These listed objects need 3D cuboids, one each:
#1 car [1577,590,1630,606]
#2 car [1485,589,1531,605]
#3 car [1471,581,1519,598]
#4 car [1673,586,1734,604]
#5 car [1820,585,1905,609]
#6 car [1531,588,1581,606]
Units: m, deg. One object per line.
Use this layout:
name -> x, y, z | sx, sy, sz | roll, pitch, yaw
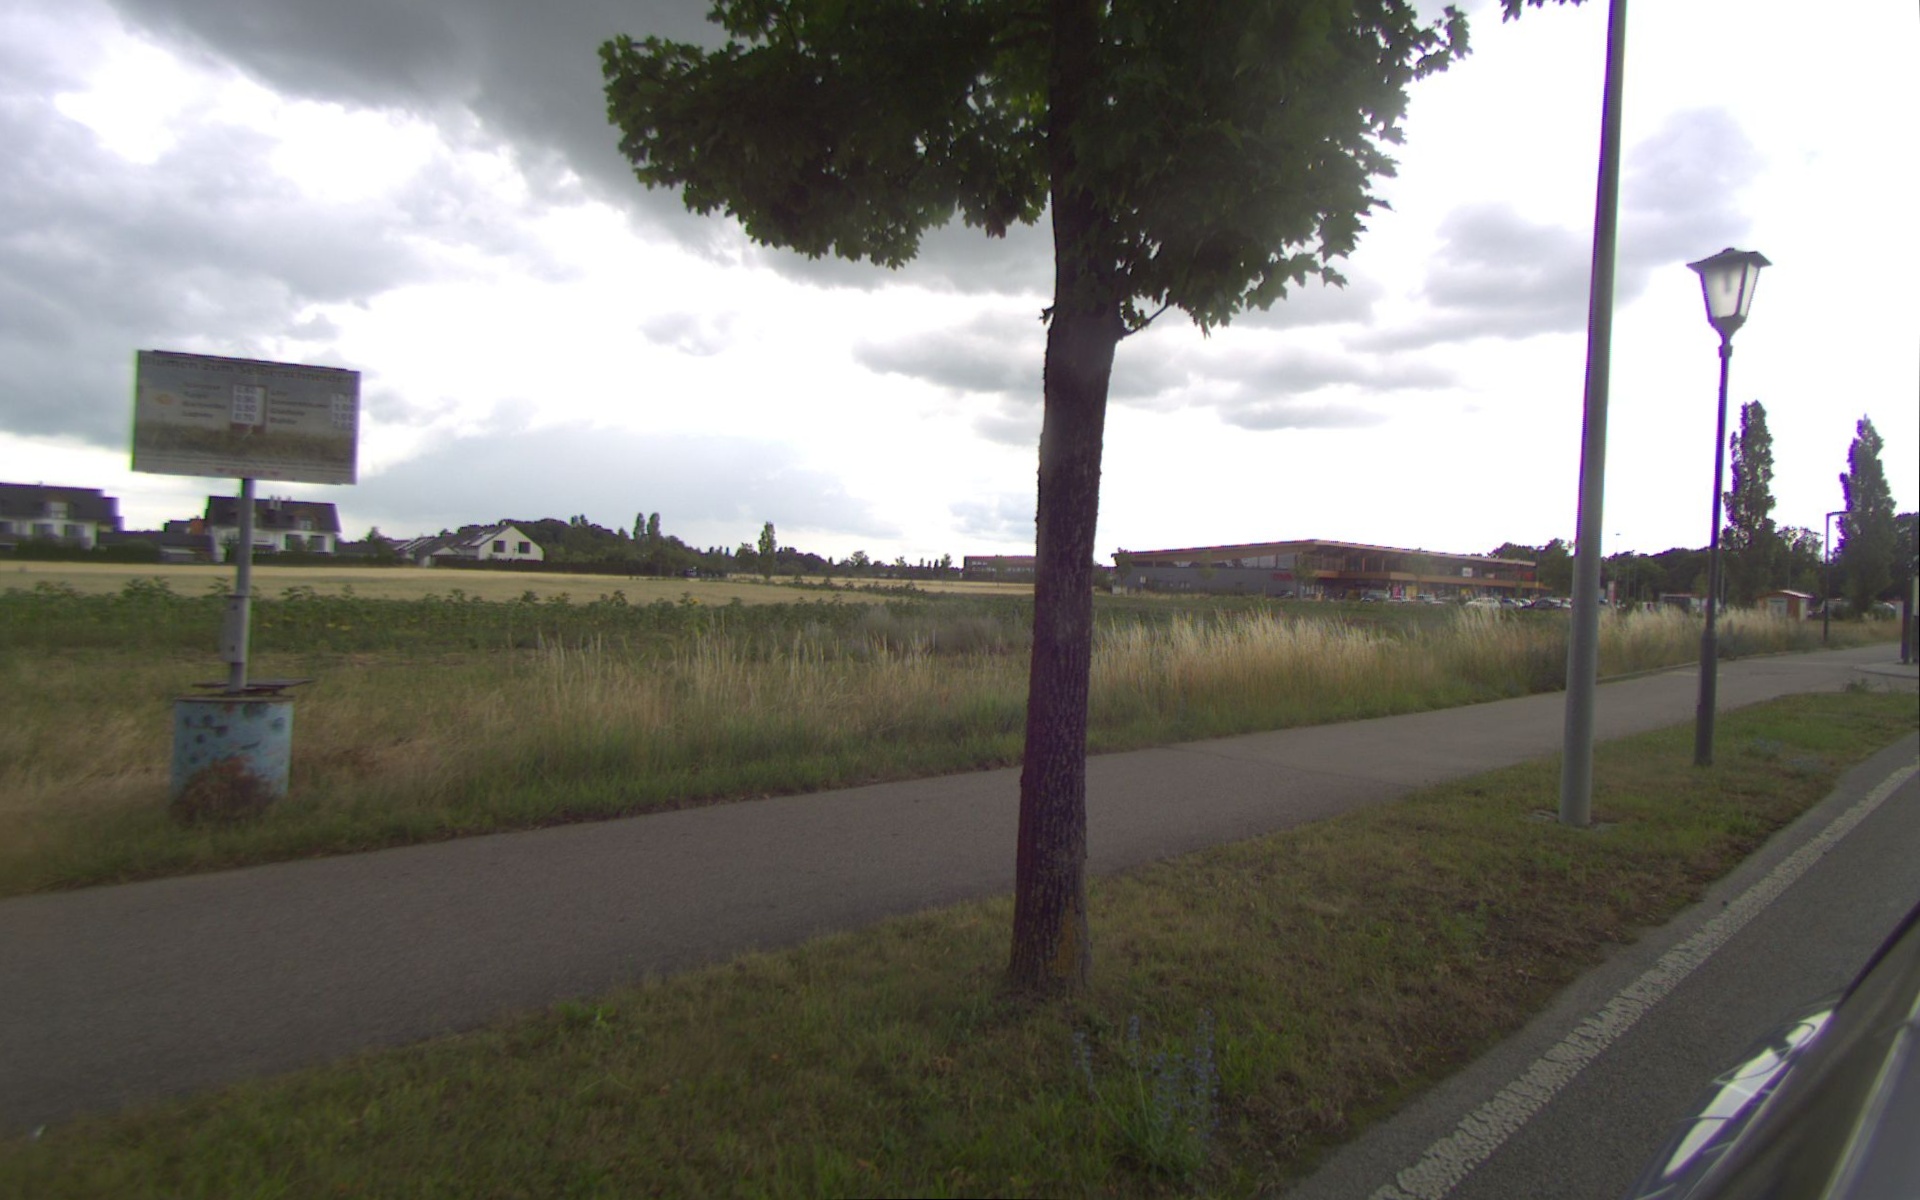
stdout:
car -> 82.908, -0.219, 130.522 | 1.968, 2.039, 5.512 | 0, 0, -45
car -> 69.611, -0.395, 128.514 | 4.842, 2.039, 1.969 | 0, 0, 44
car -> 65.275, -1.244, 123.580 | 4.842, 2.039, 1.969 | 0, 0, 44
car -> 86.729, -0.583, 118.130 | 1.968, 2.039, 5.512 | 0, 0, -45
car -> 79.600, -0.235, 89.323 | 1.968, 2.039, 5.512 | 0, 0, -45
car -> 71.329, -0.364, 121.110 | 4.842, 2.039, 1.969 | 0, 0, 44
